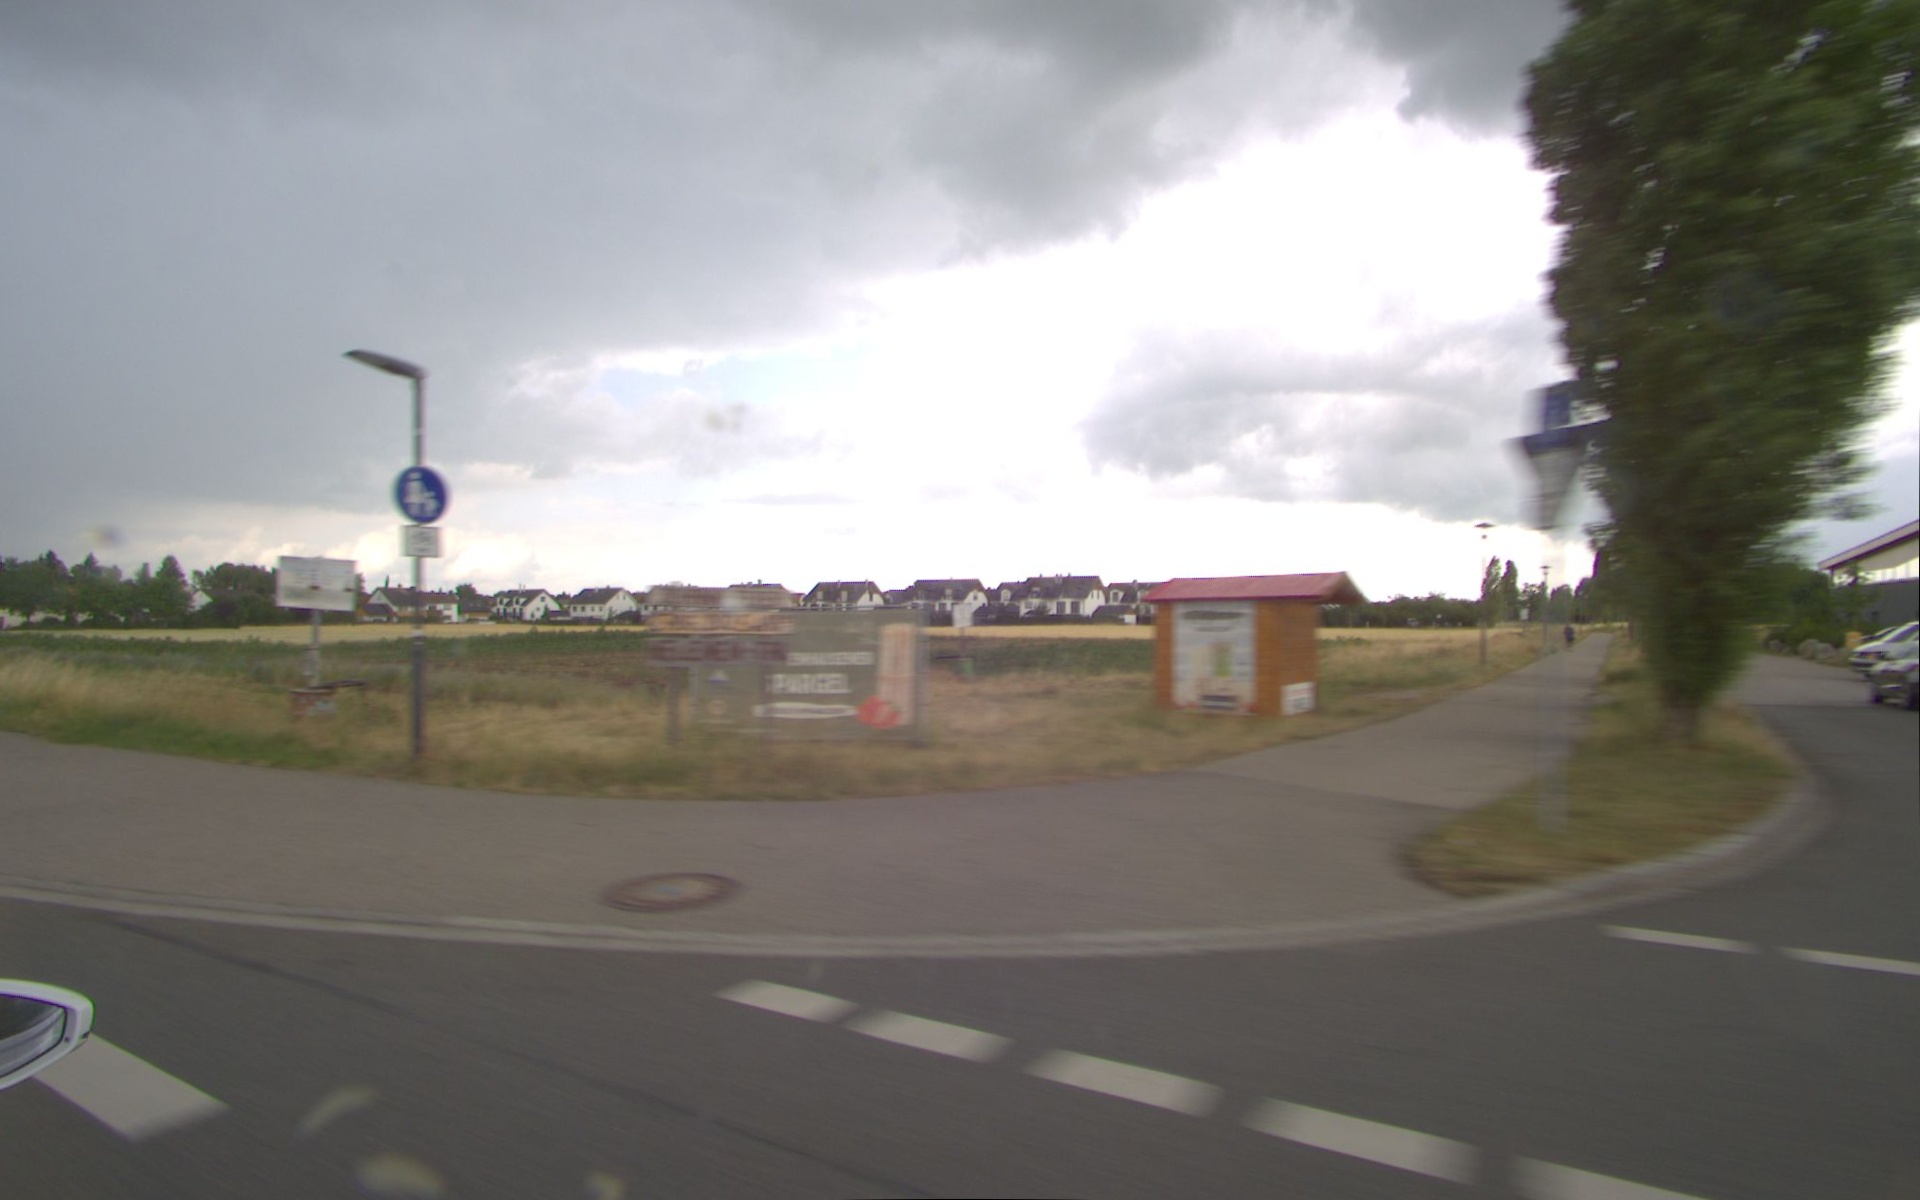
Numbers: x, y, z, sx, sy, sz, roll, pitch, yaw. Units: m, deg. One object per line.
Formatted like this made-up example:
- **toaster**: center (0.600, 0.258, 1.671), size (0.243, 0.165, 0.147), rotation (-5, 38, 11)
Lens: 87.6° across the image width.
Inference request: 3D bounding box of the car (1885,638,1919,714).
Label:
- **car**: center (19.809, 1.596, 19.846), size (1.809, 1.405, 4.361), rotation (0, -4, 38)

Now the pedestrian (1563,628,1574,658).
- **pedestrian**: center (37.397, 2.648, 61.558), size (0.591, 1.785, 0.481), rotation (0, 2, 32)

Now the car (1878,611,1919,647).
- **car**: center (41.261, 1.200, 41.732), size (4.140, 1.429, 1.988), rotation (0, 1, 33)

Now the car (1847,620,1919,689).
- **car**: center (31.210, 1.689, 31.073), size (5.152, 2.041, 1.991), rotation (0, 1, 28)
